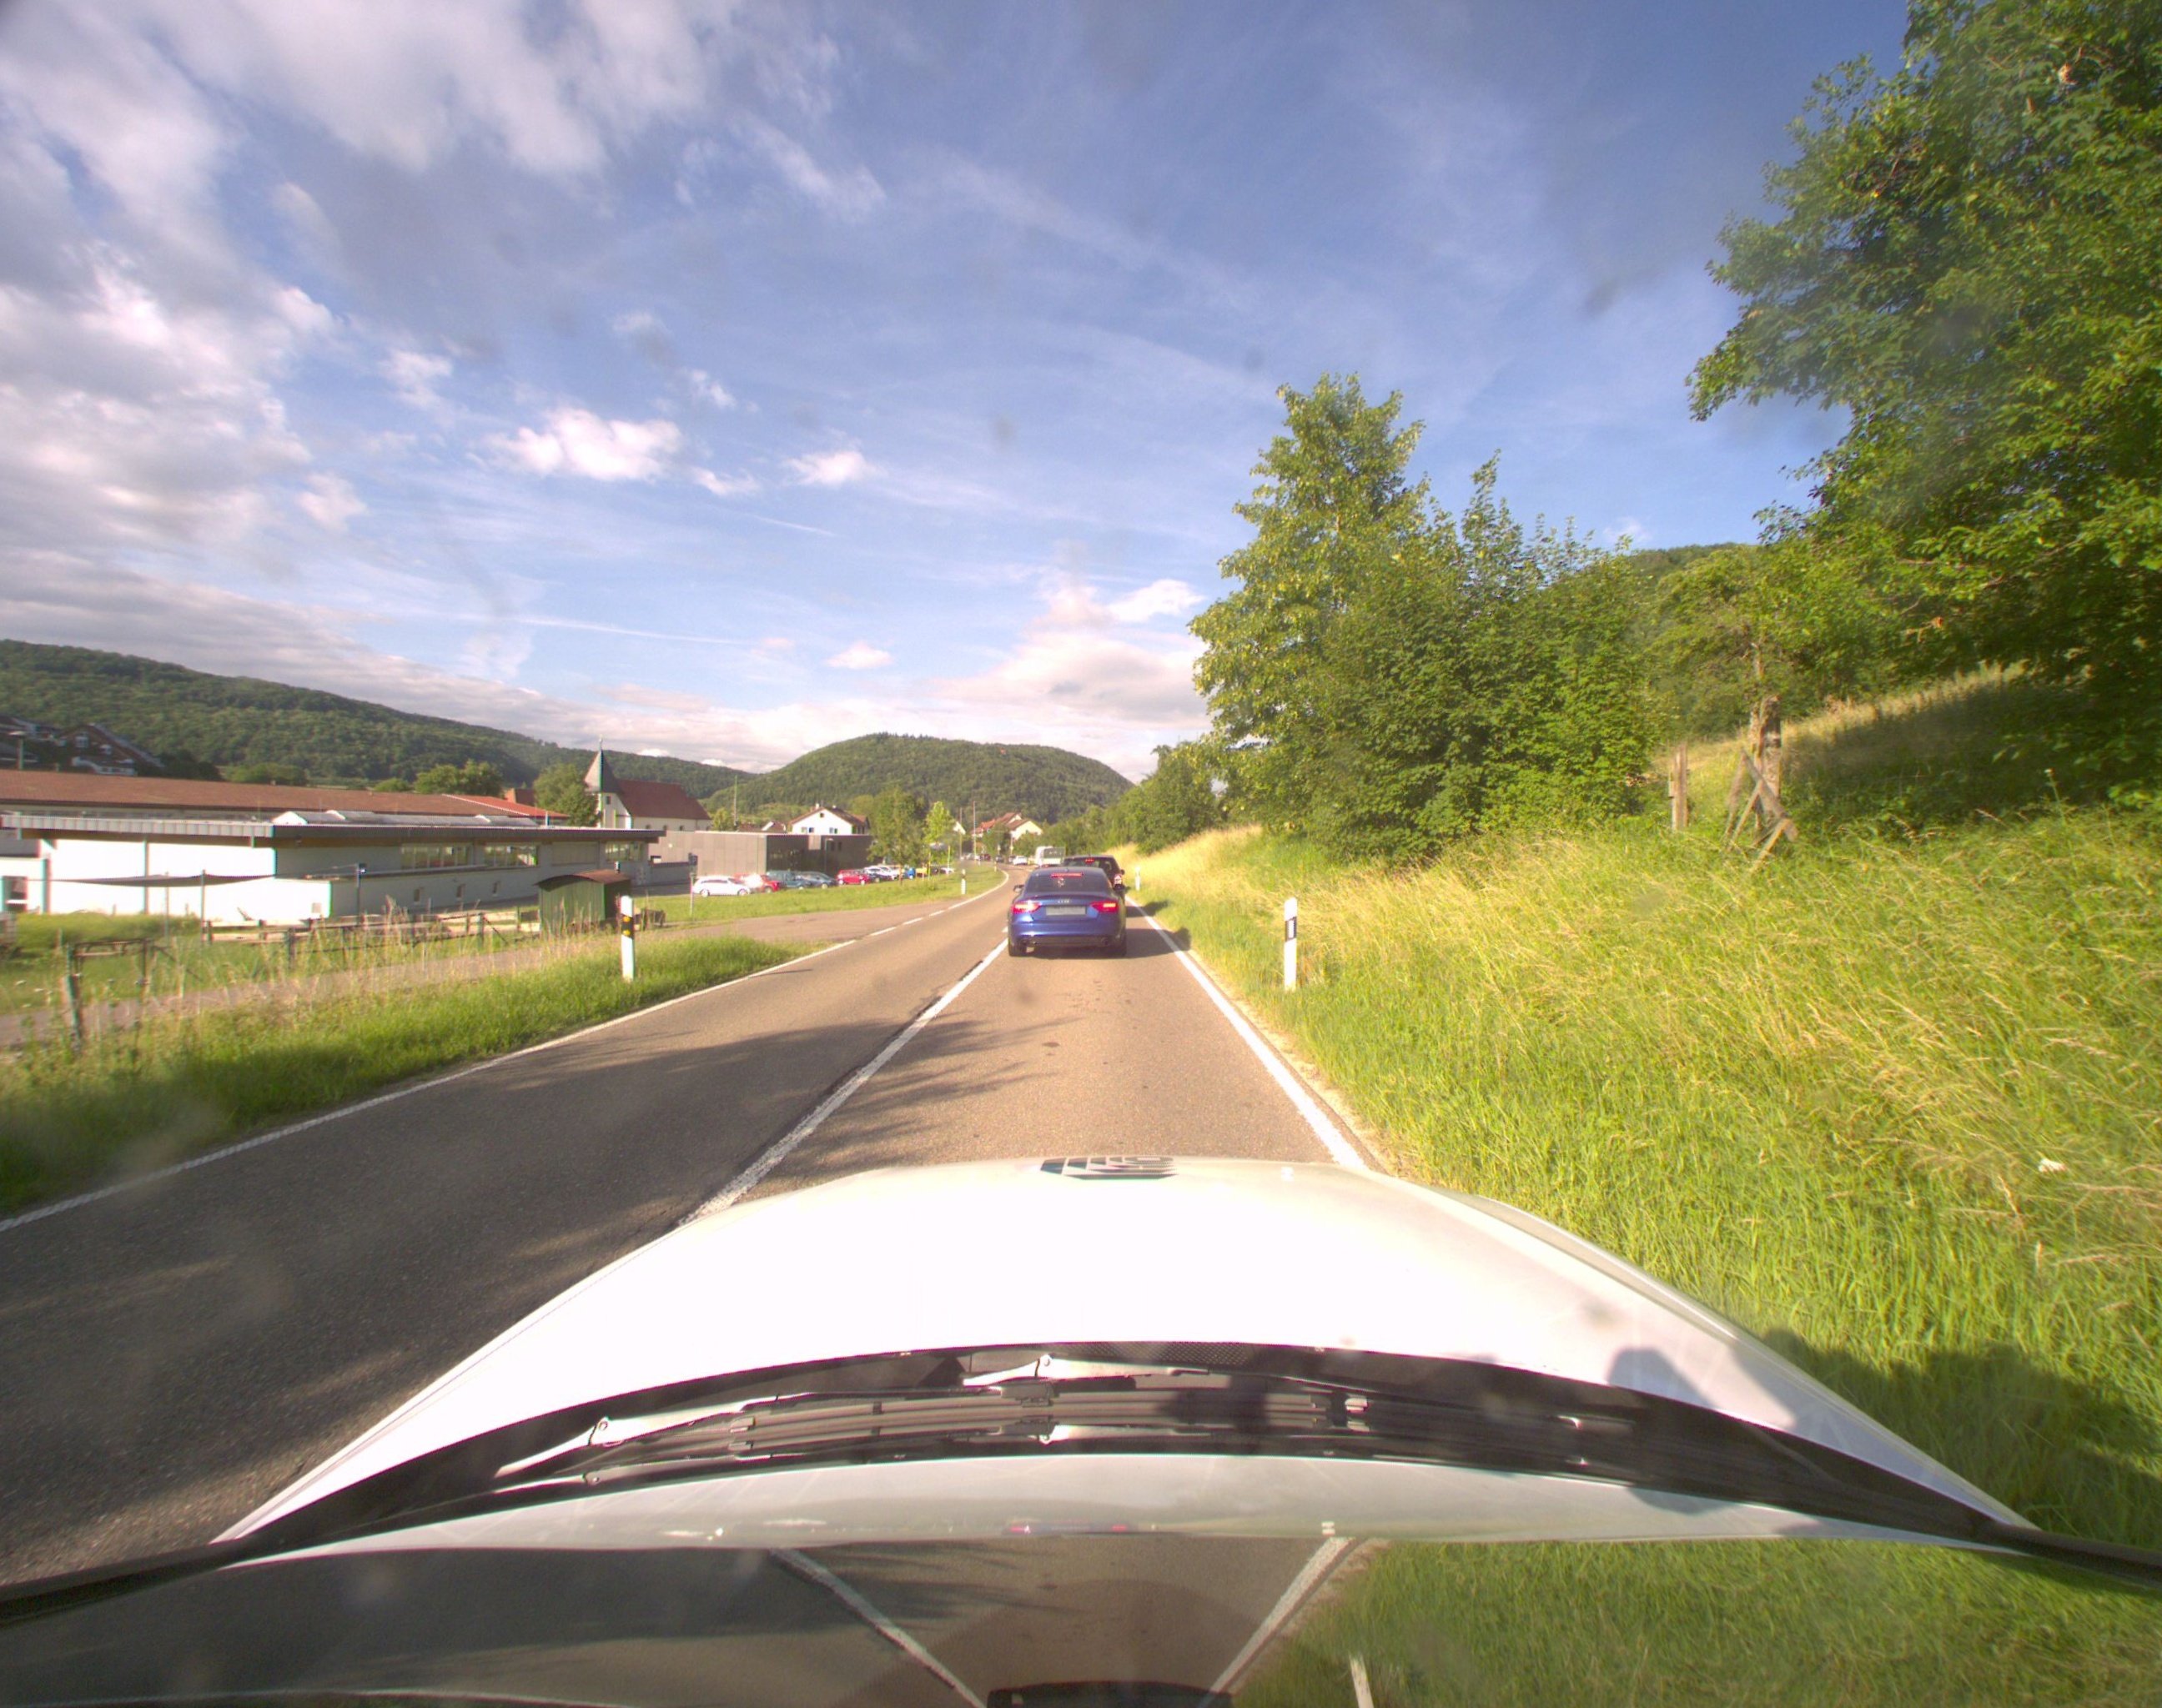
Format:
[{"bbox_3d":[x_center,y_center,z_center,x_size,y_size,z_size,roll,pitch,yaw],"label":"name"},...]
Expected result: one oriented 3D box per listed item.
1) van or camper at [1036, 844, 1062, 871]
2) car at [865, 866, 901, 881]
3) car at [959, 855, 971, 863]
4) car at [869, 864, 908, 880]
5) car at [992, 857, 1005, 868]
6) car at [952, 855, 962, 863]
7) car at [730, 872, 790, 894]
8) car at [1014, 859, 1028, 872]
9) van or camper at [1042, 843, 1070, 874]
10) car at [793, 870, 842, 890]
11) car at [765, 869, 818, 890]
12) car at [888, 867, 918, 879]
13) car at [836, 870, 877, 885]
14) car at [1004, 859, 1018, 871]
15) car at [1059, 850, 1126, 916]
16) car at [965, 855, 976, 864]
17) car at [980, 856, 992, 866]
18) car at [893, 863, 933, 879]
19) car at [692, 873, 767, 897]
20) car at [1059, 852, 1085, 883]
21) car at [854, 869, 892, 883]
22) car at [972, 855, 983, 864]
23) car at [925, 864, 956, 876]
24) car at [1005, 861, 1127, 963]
[{"bbox_3d":[-3.454,0.409,86.803,2.279,2.714,5.752,-2,0,-7],"label":"van or camper"},{"bbox_3d":[-22.350,2.220,91.992,3.648,1.493,1.599,-2,1,5],"label":"car"},{"bbox_3d":[-27.349,1.181,191.751,1.961,1.924,3.974,-2,-1,-19],"label":"car"},{"bbox_3d":[-22.479,2.073,95.286,4.056,1.673,1.599,-2,1,5],"label":"car"},{"bbox_3d":[-15.172,1.565,149.374,1.663,1.924,3.977,-2,-1,-16],"label":"car"},{"bbox_3d":[-30.376,1.191,199.165,1.682,1.924,3.974,-2,-1,-19],"label":"car"},{"bbox_3d":[-24.975,2.251,63.349,3.901,1.579,1.758,-2,-1,4],"label":"car"},{"bbox_3d":[-8.950,1.715,121.247,1.660,1.924,3.984,-2,0,-11],"label":"car"},{"bbox_3d":[-2.174,0.395,69.371,2.048,2.505,5.802,-2,0,-4],"label":"van or camper"},{"bbox_3d":[-23.836,2.346,73.654,3.800,1.722,1.734,-2,-1,4],"label":"car"},{"bbox_3d":[-24.515,2.150,69.011,3.846,1.722,1.757,-1,-1,2],"label":"car"},{"bbox_3d":[-22.122,2.376,101.330,3.360,1.373,1.659,-2,-1,-2],"label":"car"},{"bbox_3d":[-23.079,2.370,83.781,3.606,1.444,1.651,0,1,5],"label":"car"},{"bbox_3d":[-11.503,1.821,132.972,1.661,1.924,3.981,-2,-1,-13],"label":"car"},{"bbox_3d":[0.244,0.734,21.817,1.641,1.625,3.515,0,0,-1],"label":"car"},{"bbox_3d":[-24.878,1.317,183.803,1.682,1.924,3.974,-2,-1,-19],"label":"car"},{"bbox_3d":[-19.503,1.500,166.583,1.681,1.924,3.976,-2,-1,-18],"label":"car"},{"bbox_3d":[-21.426,2.148,103.805,4.530,1.815,1.844,-2,-1,5],"label":"car"},{"bbox_3d":[-26.078,2.288,60.487,4.619,1.589,2.003,-2,-1,4],"label":"car"},{"bbox_3d":[-0.655,0.913,57.260,1.564,2.013,3.995,-2,0,-3],"label":"car"},{"bbox_3d":[-22.692,2.392,88.831,3.606,1.404,1.600,-2,3,5],"label":"car"},{"bbox_3d":[-22.359,1.210,175.775,1.681,1.924,3.976,-2,-1,-18],"label":"car"},{"bbox_3d":[-20.386,2.282,117.946,4.015,1.660,1.658,-2,-1,5],"label":"car"},{"bbox_3d":[-0.162,0.845,13.413,1.736,1.450,3.518,0,0,2],"label":"car"}]
